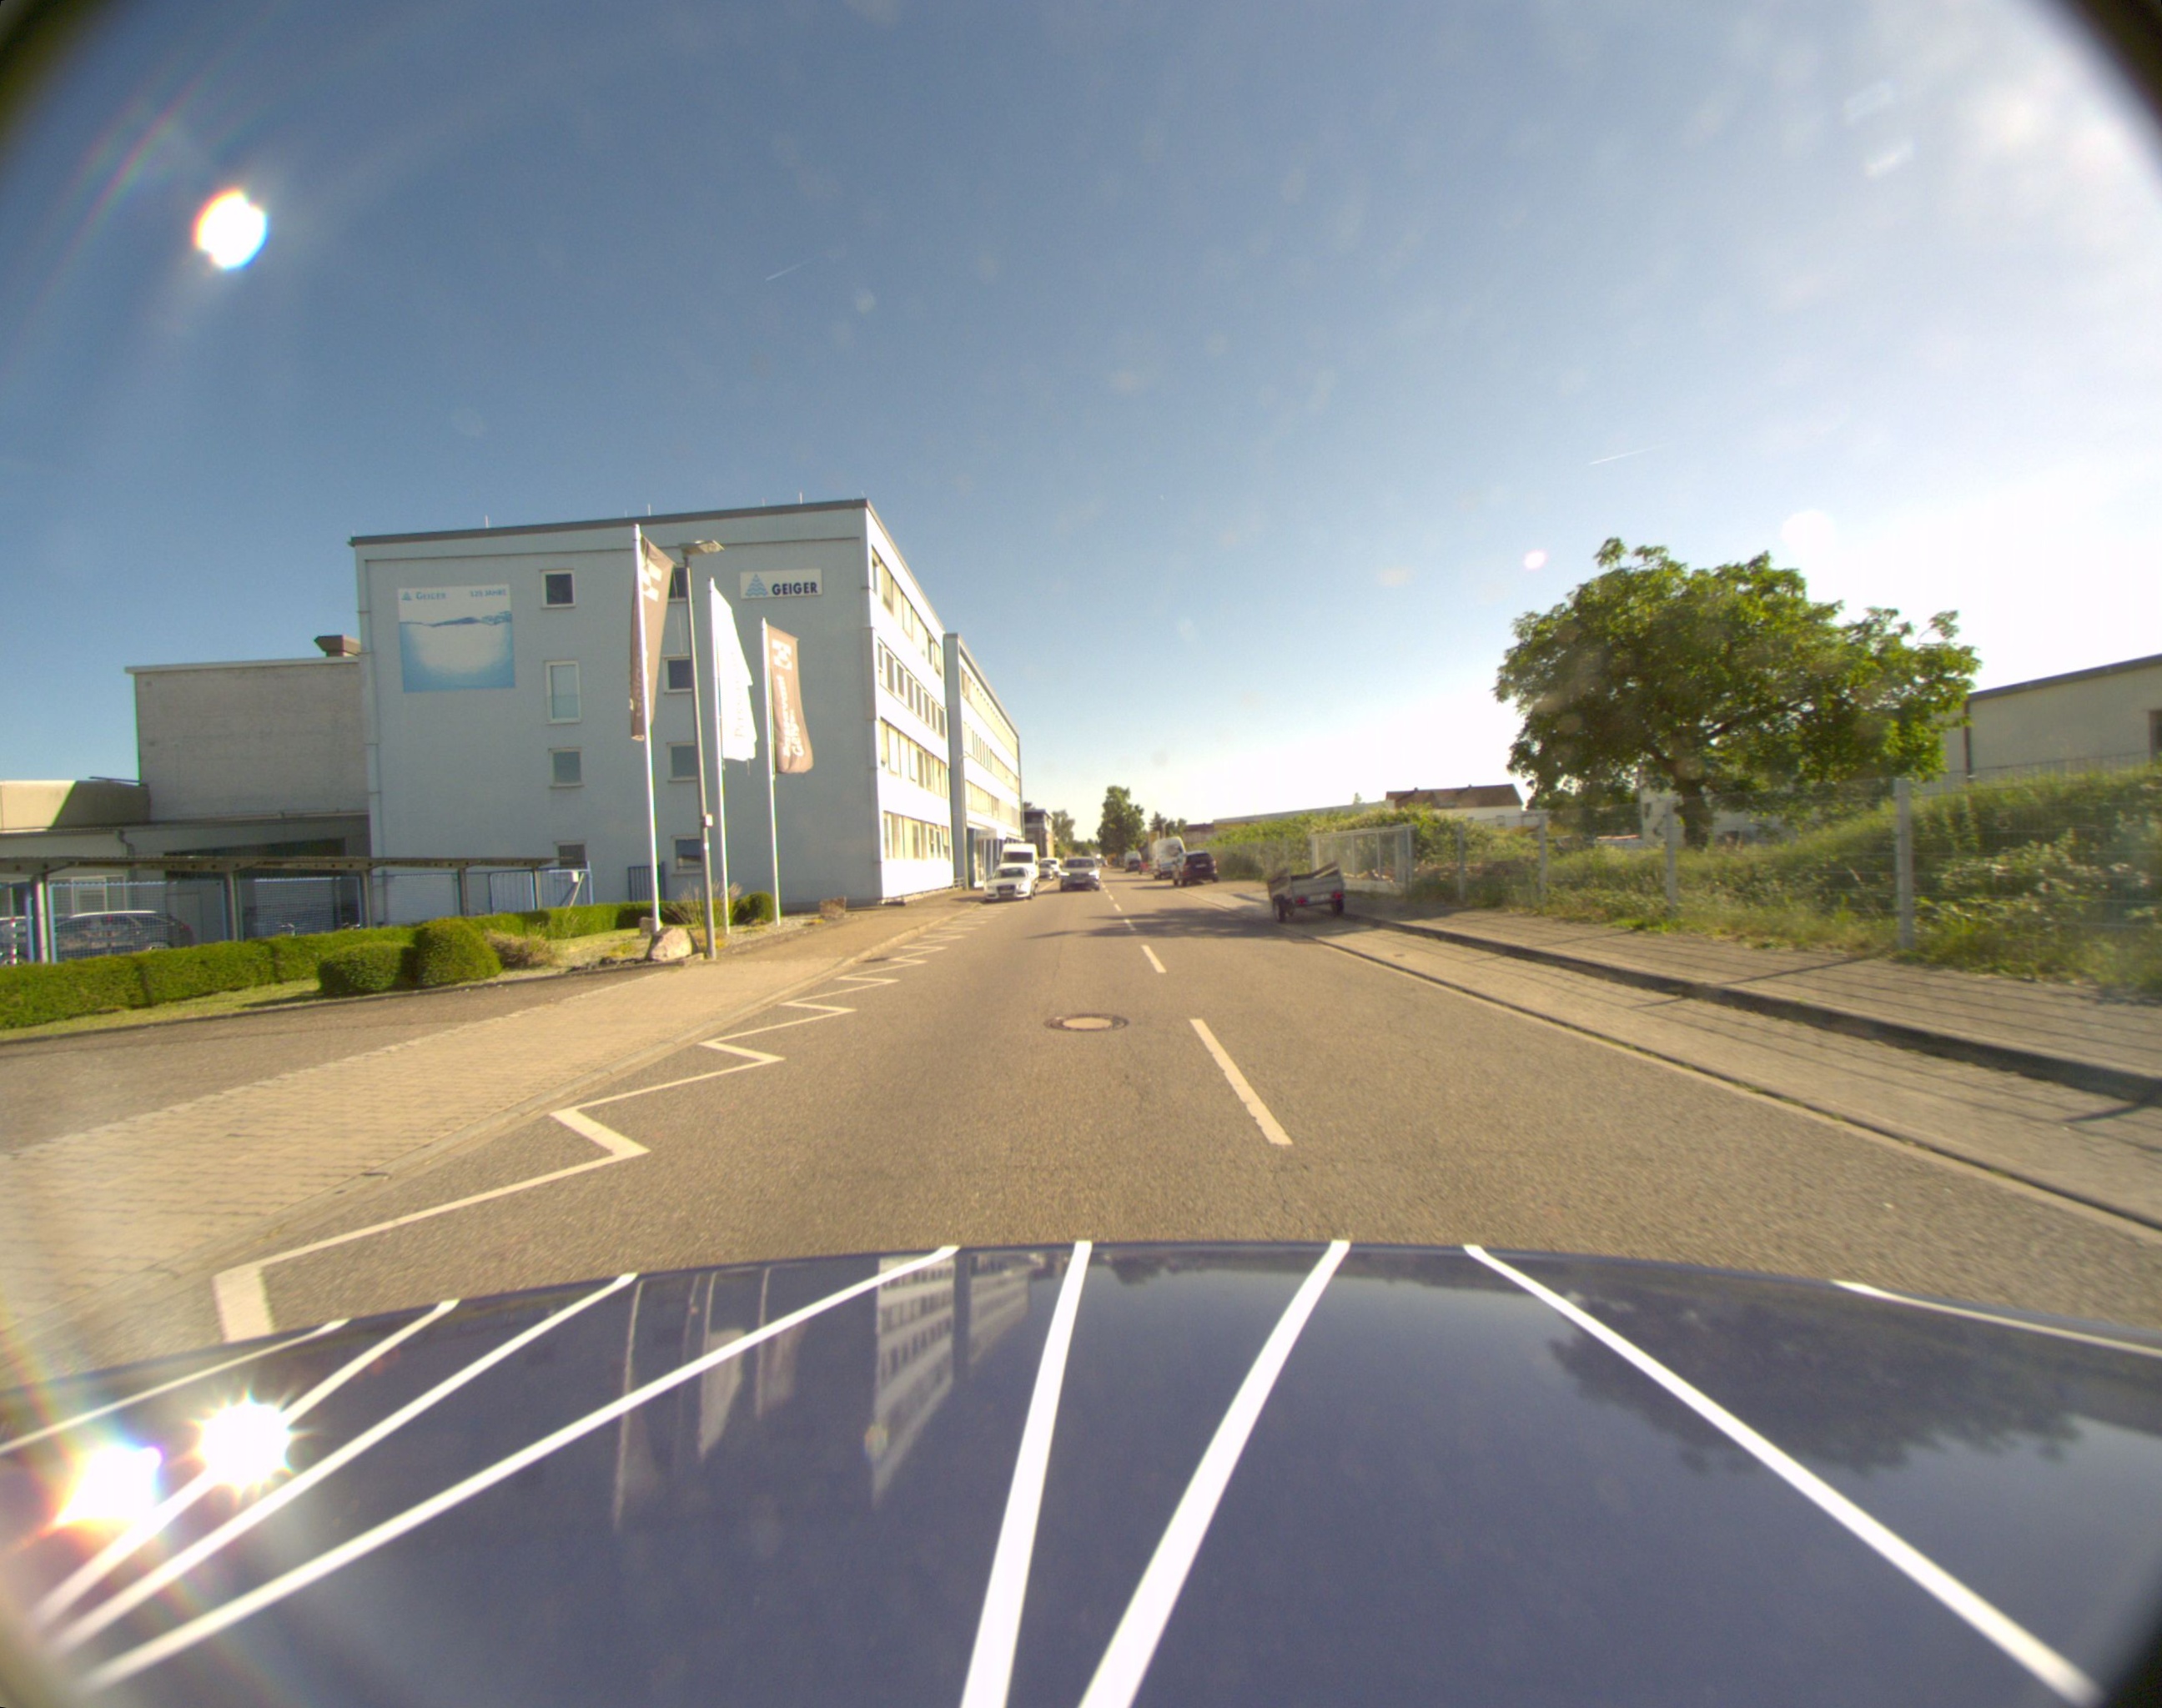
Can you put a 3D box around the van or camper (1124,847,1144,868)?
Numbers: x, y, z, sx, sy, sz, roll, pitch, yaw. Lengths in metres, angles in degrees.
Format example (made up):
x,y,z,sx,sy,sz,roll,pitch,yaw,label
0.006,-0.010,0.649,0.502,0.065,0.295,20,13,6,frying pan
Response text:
x,y,z,sx,sy,sz,roll,pitch,yaw,label
7.030,0.502,100.946,2.076,2.534,6.404,-7,0,1,van or camper

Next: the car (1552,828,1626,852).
x,y,z,sx,sy,sz,roll,pitch,yaw,label
37.704,-1.008,56.488,4.164,1.565,1.850,-3,0,14,car

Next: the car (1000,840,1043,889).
x,y,z,sx,sy,sz,roll,pitch,yaw,label
-3.339,0.608,43.612,1.999,2.582,6.051,-1,-1,0,car

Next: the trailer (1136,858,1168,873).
x,y,z,sx,sy,sz,roll,pitch,yaw,label
6.543,1.051,70.800,2.382,1.073,6.246,-6,-1,0,trailer

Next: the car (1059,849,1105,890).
x,y,z,sx,sy,sz,roll,pitch,yaw,label
0.076,0.722,37.011,1.998,1.750,5.016,-3,0,1,car

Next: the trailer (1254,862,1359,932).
x,y,z,sx,sy,sz,roll,pitch,yaw,label
5.155,0.925,17.692,1.480,1.346,3.078,-4,0,1,trailer

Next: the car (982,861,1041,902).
x,y,z,sx,sy,sz,roll,pitch,yaw,label
-2.838,1.095,32.091,1.899,1.397,5.123,-4,0,0,car

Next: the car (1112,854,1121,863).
x,y,z,sx,sy,sz,roll,pitch,yaw,label
8.133,0.992,173.014,1.779,1.838,4.616,-5,0,4,car

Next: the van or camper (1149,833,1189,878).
x,y,z,sx,sy,sz,roll,pitch,yaw,label
5.928,0.101,51.761,1.971,2.669,5.948,-8,0,2,van or camper

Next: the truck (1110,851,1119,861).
x,y,z,sx,sy,sz,roll,pitch,yaw,label
9.041,0.522,204.608,2.173,2.698,5.750,-4,1,1,truck

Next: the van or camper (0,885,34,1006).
x,y,z,sx,sy,sz,roll,pitch,yaw,label
-22.553,1.921,12.187,2.105,2.368,6.515,-4,0,3,van or camper

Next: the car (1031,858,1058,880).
x,y,z,sx,sy,sz,roll,pitch,yaw,label
-2.927,1.201,61.792,1.894,1.551,5.090,-3,0,0,car

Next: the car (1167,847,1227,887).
x,y,z,sx,sy,sz,roll,pitch,yaw,label
5.844,0.621,38.910,2.035,1.684,5.106,-7,0,-1,car

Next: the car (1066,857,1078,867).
x,y,z,sx,sy,sz,roll,pitch,yaw,label
-1.527,1.360,128.336,1.937,1.635,4.769,-2,0,-1,car

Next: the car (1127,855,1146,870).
x,y,z,sx,sy,sz,roll,pitch,yaw,label
6.524,0.959,90.122,1.804,1.501,5.003,-6,0,1,car

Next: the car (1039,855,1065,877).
x,y,z,sx,sy,sz,roll,pitch,yaw,label
-2.593,1.020,69.497,1.894,1.821,5.091,-3,0,2,car
